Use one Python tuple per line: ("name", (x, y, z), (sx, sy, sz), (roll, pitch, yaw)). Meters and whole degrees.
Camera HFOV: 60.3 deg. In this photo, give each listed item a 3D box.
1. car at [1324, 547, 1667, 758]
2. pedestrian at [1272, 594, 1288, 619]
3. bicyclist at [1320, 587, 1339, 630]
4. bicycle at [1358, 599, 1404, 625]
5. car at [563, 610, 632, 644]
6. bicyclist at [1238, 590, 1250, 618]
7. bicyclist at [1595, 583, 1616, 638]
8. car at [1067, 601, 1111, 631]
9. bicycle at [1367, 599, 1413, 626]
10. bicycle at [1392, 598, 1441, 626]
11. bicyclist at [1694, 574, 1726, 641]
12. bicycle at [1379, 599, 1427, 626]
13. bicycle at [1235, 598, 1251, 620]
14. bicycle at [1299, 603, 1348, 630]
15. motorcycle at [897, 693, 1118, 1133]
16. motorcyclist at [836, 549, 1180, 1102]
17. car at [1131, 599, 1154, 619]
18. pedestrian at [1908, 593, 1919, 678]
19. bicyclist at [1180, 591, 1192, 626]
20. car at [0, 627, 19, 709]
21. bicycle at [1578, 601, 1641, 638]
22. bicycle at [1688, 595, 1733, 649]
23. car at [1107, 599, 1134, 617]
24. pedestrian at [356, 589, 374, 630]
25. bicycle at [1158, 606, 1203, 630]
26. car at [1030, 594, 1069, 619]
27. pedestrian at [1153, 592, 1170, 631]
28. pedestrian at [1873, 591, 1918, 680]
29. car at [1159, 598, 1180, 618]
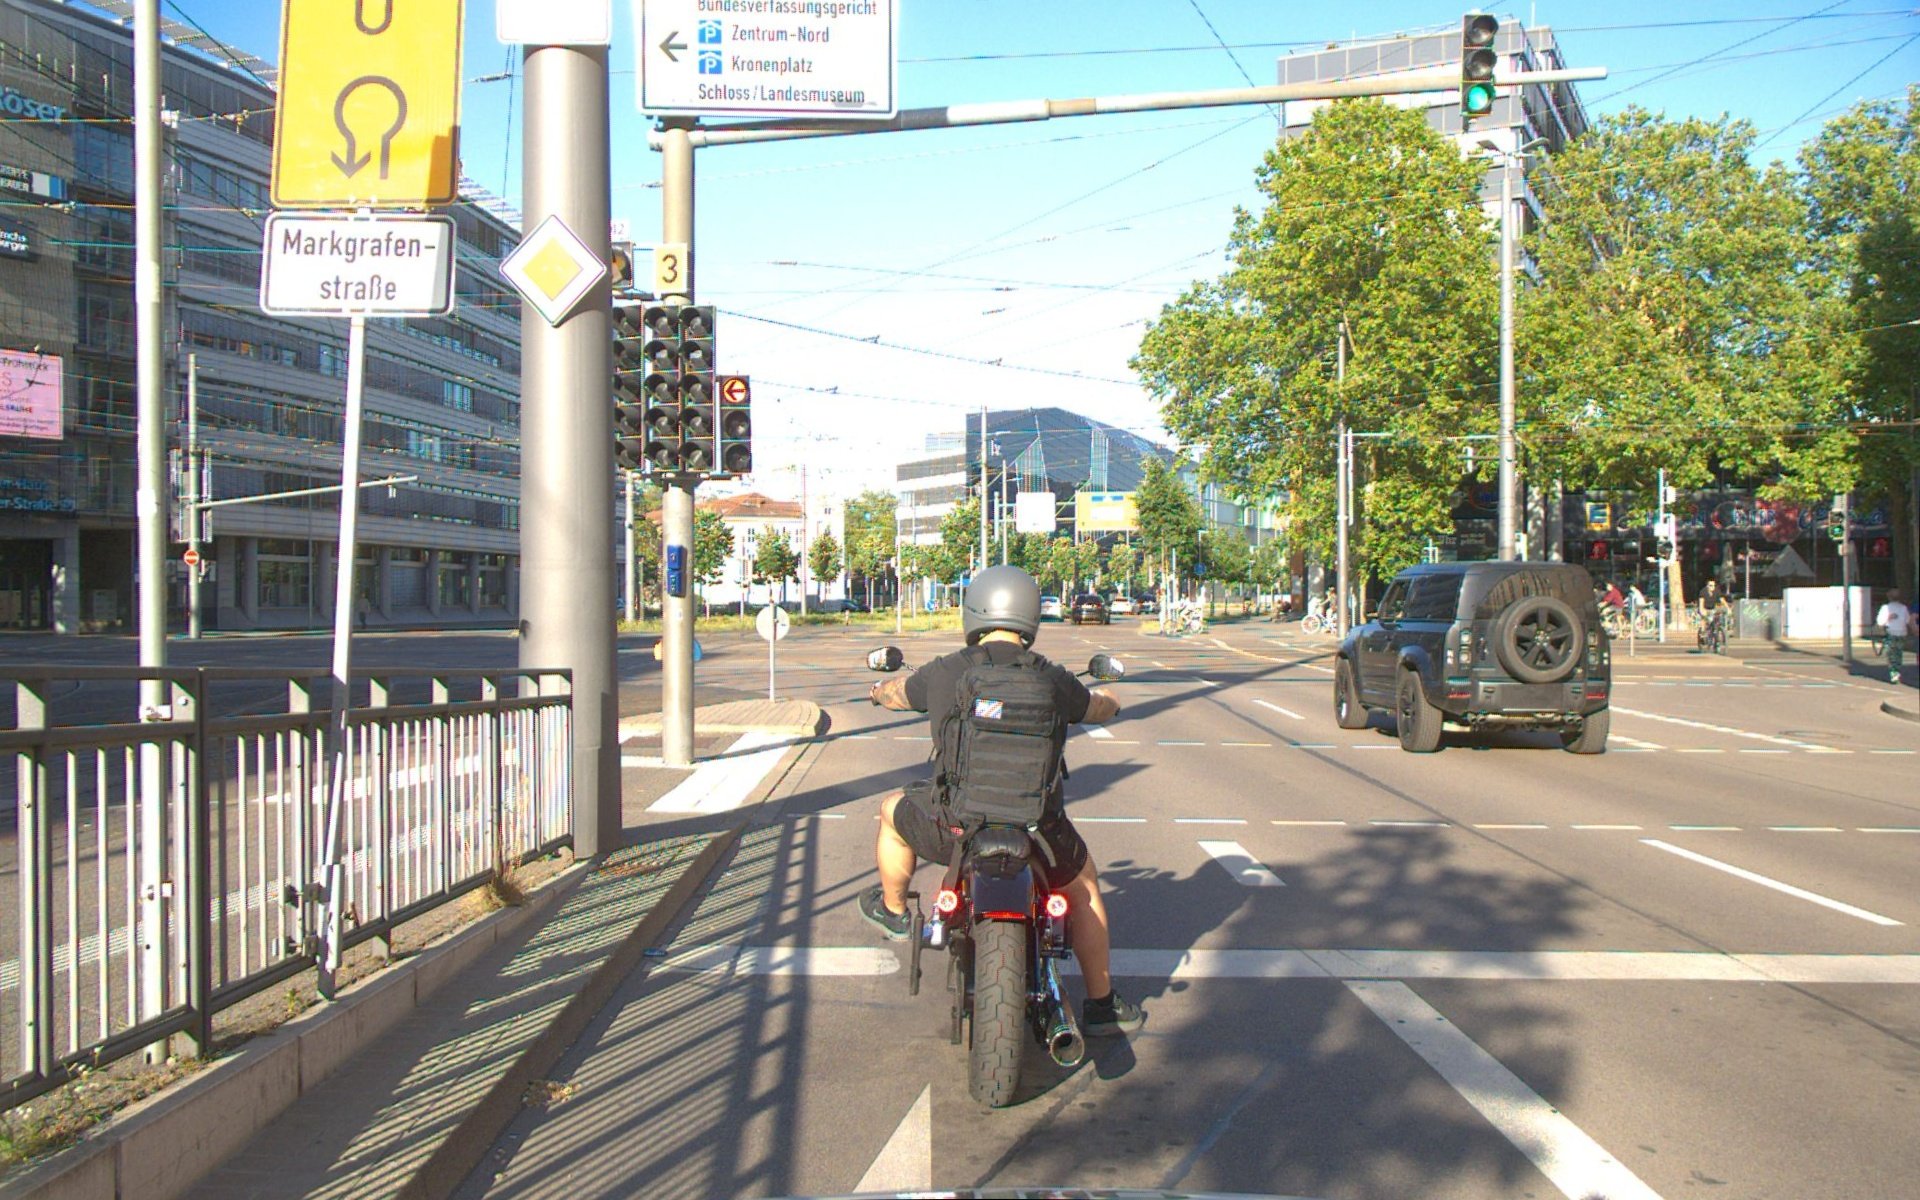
("car", (5.540, 0.493, 17.814), (2.115, 1.948, 4.471), (1, 0, -2))
("pedestrian", (17.590, 0.362, 91.000), (0.802, 1.337, 0.638), (1, -1, 8))
("bicyclist", (14.594, 0.343, 65.385), (0.673, 1.702, 0.541), (0, -1, 18))
("bicycle", (18.041, 0.524, 70.905), (1.842, 1.064, 0.360), (1, 0, -2))
("car", (-17.136, 1.282, 78.389), (1.712, 1.550, 4.003), (1, -1, 11))
("bicyclist", (18.520, 0.253, 108.010), (0.682, 1.840, 0.729), (1, -1, 3))
("bicyclist", (22.218, 0.361, 56.941), (0.572, 1.870, 0.402), (1, -1, -1))
("car", (7.124, 0.855, 90.785), (1.765, 1.623, 4.457), (0, 0, 13))
("bicycle", (18.120, 0.524, 69.756), (1.842, 1.064, 0.360), (1, 0, -2))
("bicycle", (18.202, 0.473, 65.987), (1.842, 1.065, 0.360), (1, -1, -2))
("bicyclist", (17.504, 0.168, 38.621), (0.553, 1.545, 0.634), (1, -1, 14))
("bicycle", (18.107, 0.512, 67.581), (1.842, 1.065, 0.360), (1, -1, -2))
("bicycle", (18.545, 0.606, 108.379), (0.710, 1.391, 2.918), (1, -1, 3))
("bicycle", (14.382, 0.665, 65.447), (1.831, 1.062, 0.537), (0, -1, 18))
("motorcycle", (0.114, 0.922, 5.648), (0.588, 1.054, 2.233), (1, 0, -1))
("motorcyclist", (0.136, 0.659, 5.298), (1.009, 1.621, 0.873), (0, 0, -1))
("car", (16.366, 0.843, 148.117), (1.765, 1.708, 4.044), (1, -1, 11))
("pedestrian", (17.175, 0.633, 29.288), (0.554, 1.505, 0.702), (1, -1, 20))
("bicyclist", (9.185, 0.352, 67.219), (0.373, 1.397, 0.344), (1, -1, -7))
("car", (-14.514, 0.903, 22.444), (2.835, 1.081, 1.235), (1, -1, -22))
("bicycle", (22.340, 0.678, 56.938), (2.001, 1.235, 0.421), (1, -1, -1))
("bicycle", (17.498, 0.518, 38.585), (0.554, 1.199, 2.331), (1, -1, 14))
("car", (13.533, 0.683, 139.190), (1.765, 1.455, 4.457), (0, 0, 12))
("pedestrian", (-29.900, 0.473, 83.095), (0.617, 2.049, 0.754), (1, -1, -1))
("bicycle", (8.964, 0.714, 67.178), (1.791, 0.942, 0.357), (1, -1, -7))
("car", (5.289, 0.359, 97.456), (1.765, 1.455, 4.457), (0, 0, 10))
("pedestrian", (8.455, 0.484, 69.454), (0.576, 1.584, 0.488), (1, -1, -9))
("pedestrian", (16.610, 0.624, 29.365), (0.554, 1.559, 0.702), (1, -1, 18))
("car", (19.851, 0.791, 156.475), (1.692, 1.870, 3.578), (1, -1, 12))
